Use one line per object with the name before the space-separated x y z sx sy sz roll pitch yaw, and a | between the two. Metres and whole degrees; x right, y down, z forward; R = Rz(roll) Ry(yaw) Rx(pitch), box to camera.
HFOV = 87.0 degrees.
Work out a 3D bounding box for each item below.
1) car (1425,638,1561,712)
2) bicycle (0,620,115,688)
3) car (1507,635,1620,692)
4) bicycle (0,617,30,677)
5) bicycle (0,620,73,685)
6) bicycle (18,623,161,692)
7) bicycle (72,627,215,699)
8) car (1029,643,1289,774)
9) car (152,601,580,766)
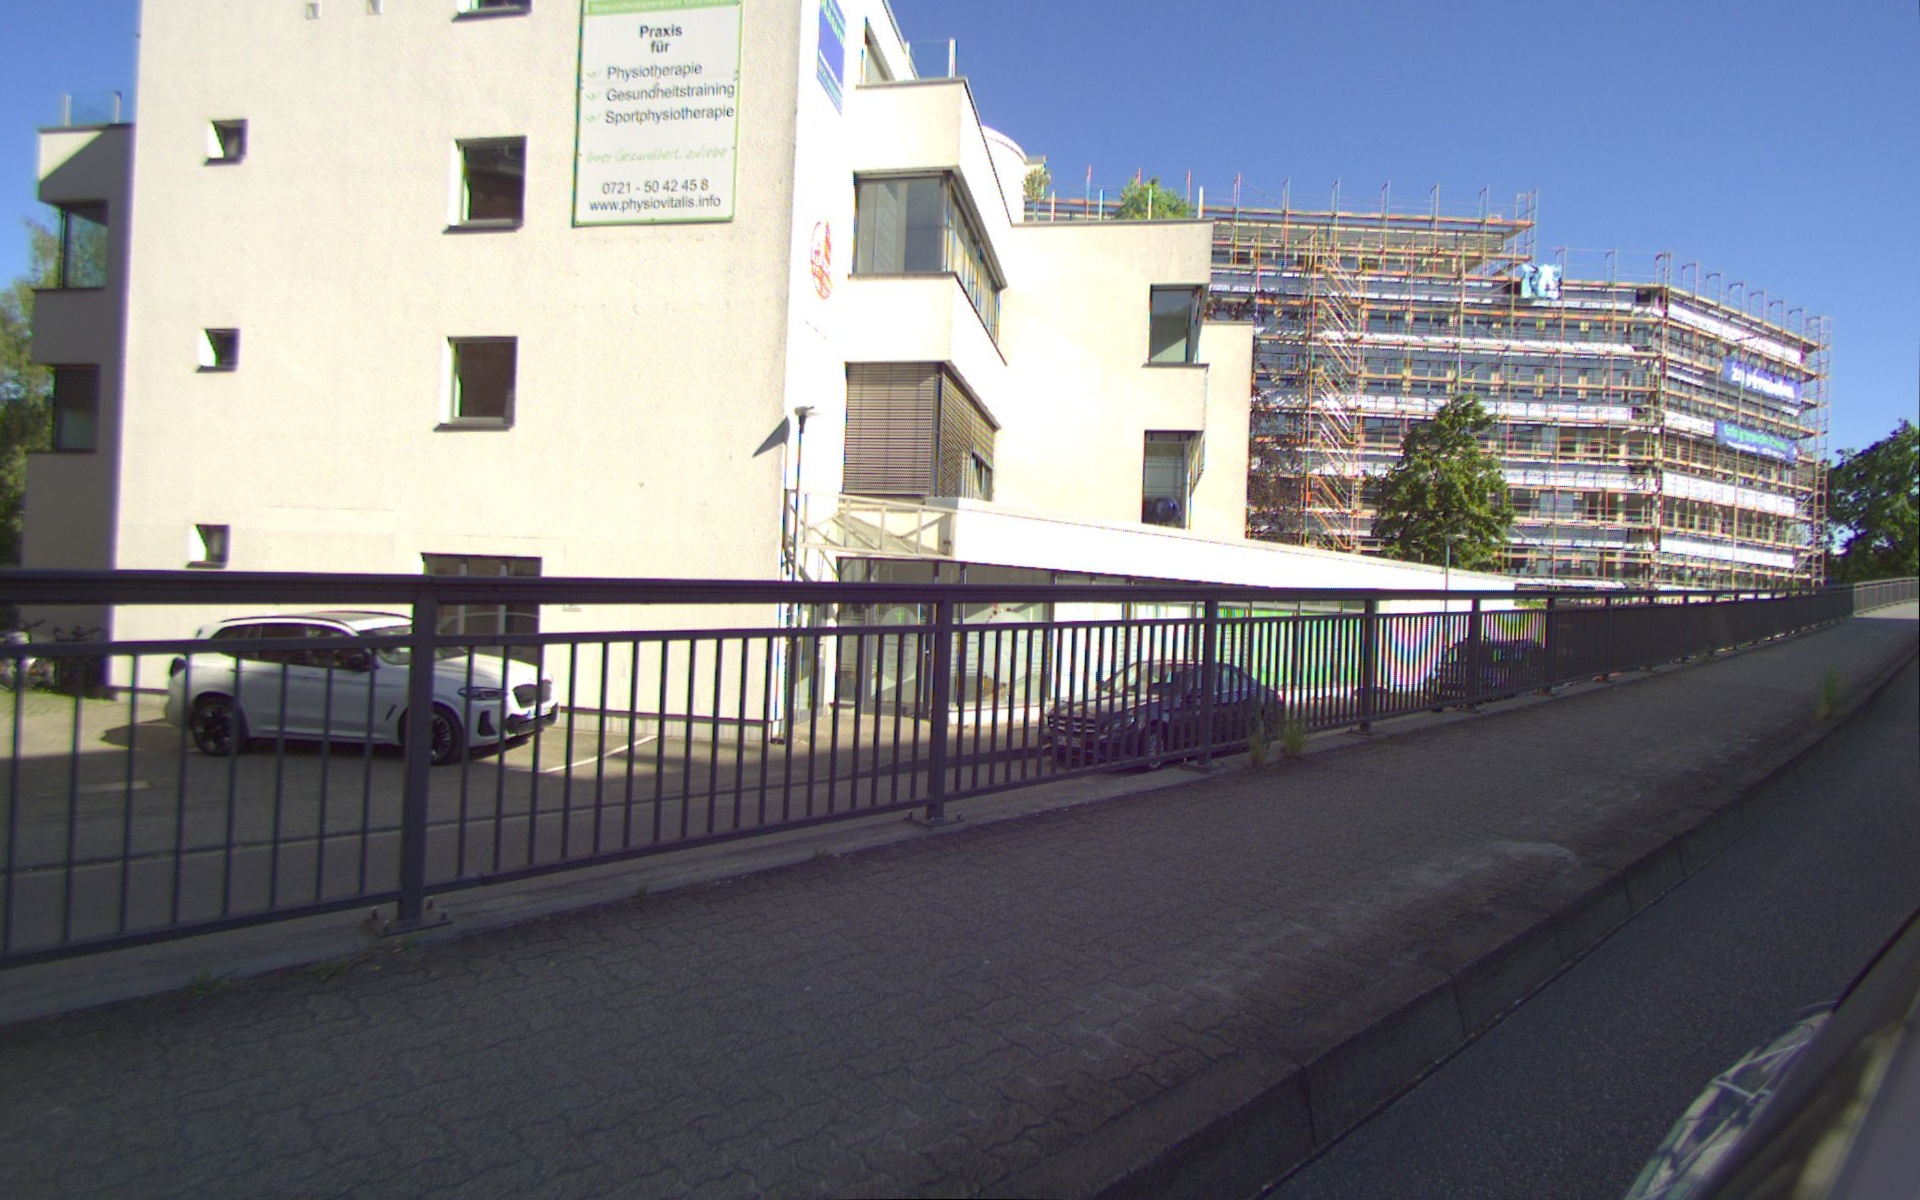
car | 12.932 1.744 24.458 3.932 1.541 1.723 1 -1 -43
bicycle | -16.274 0.931 17.988 0.655 1.065 1.916 2 1 11
car | 16.998 1.731 28.448 3.932 1.410 1.723 1 -1 -43
bicycle | -18.150 0.884 18.308 0.655 1.065 1.916 2 1 11
bicycle | -17.153 0.940 18.106 0.655 1.065 1.916 2 1 11
bicycle | -15.354 0.980 17.918 0.655 1.065 1.916 2 1 11
bicycle | -13.870 1.040 17.271 0.655 1.065 1.916 2 1 11
car | 3.015 1.473 14.892 3.930 1.541 1.724 1 0 -42
car | -7.375 0.956 12.784 4.454 1.707 1.841 2 0 8
